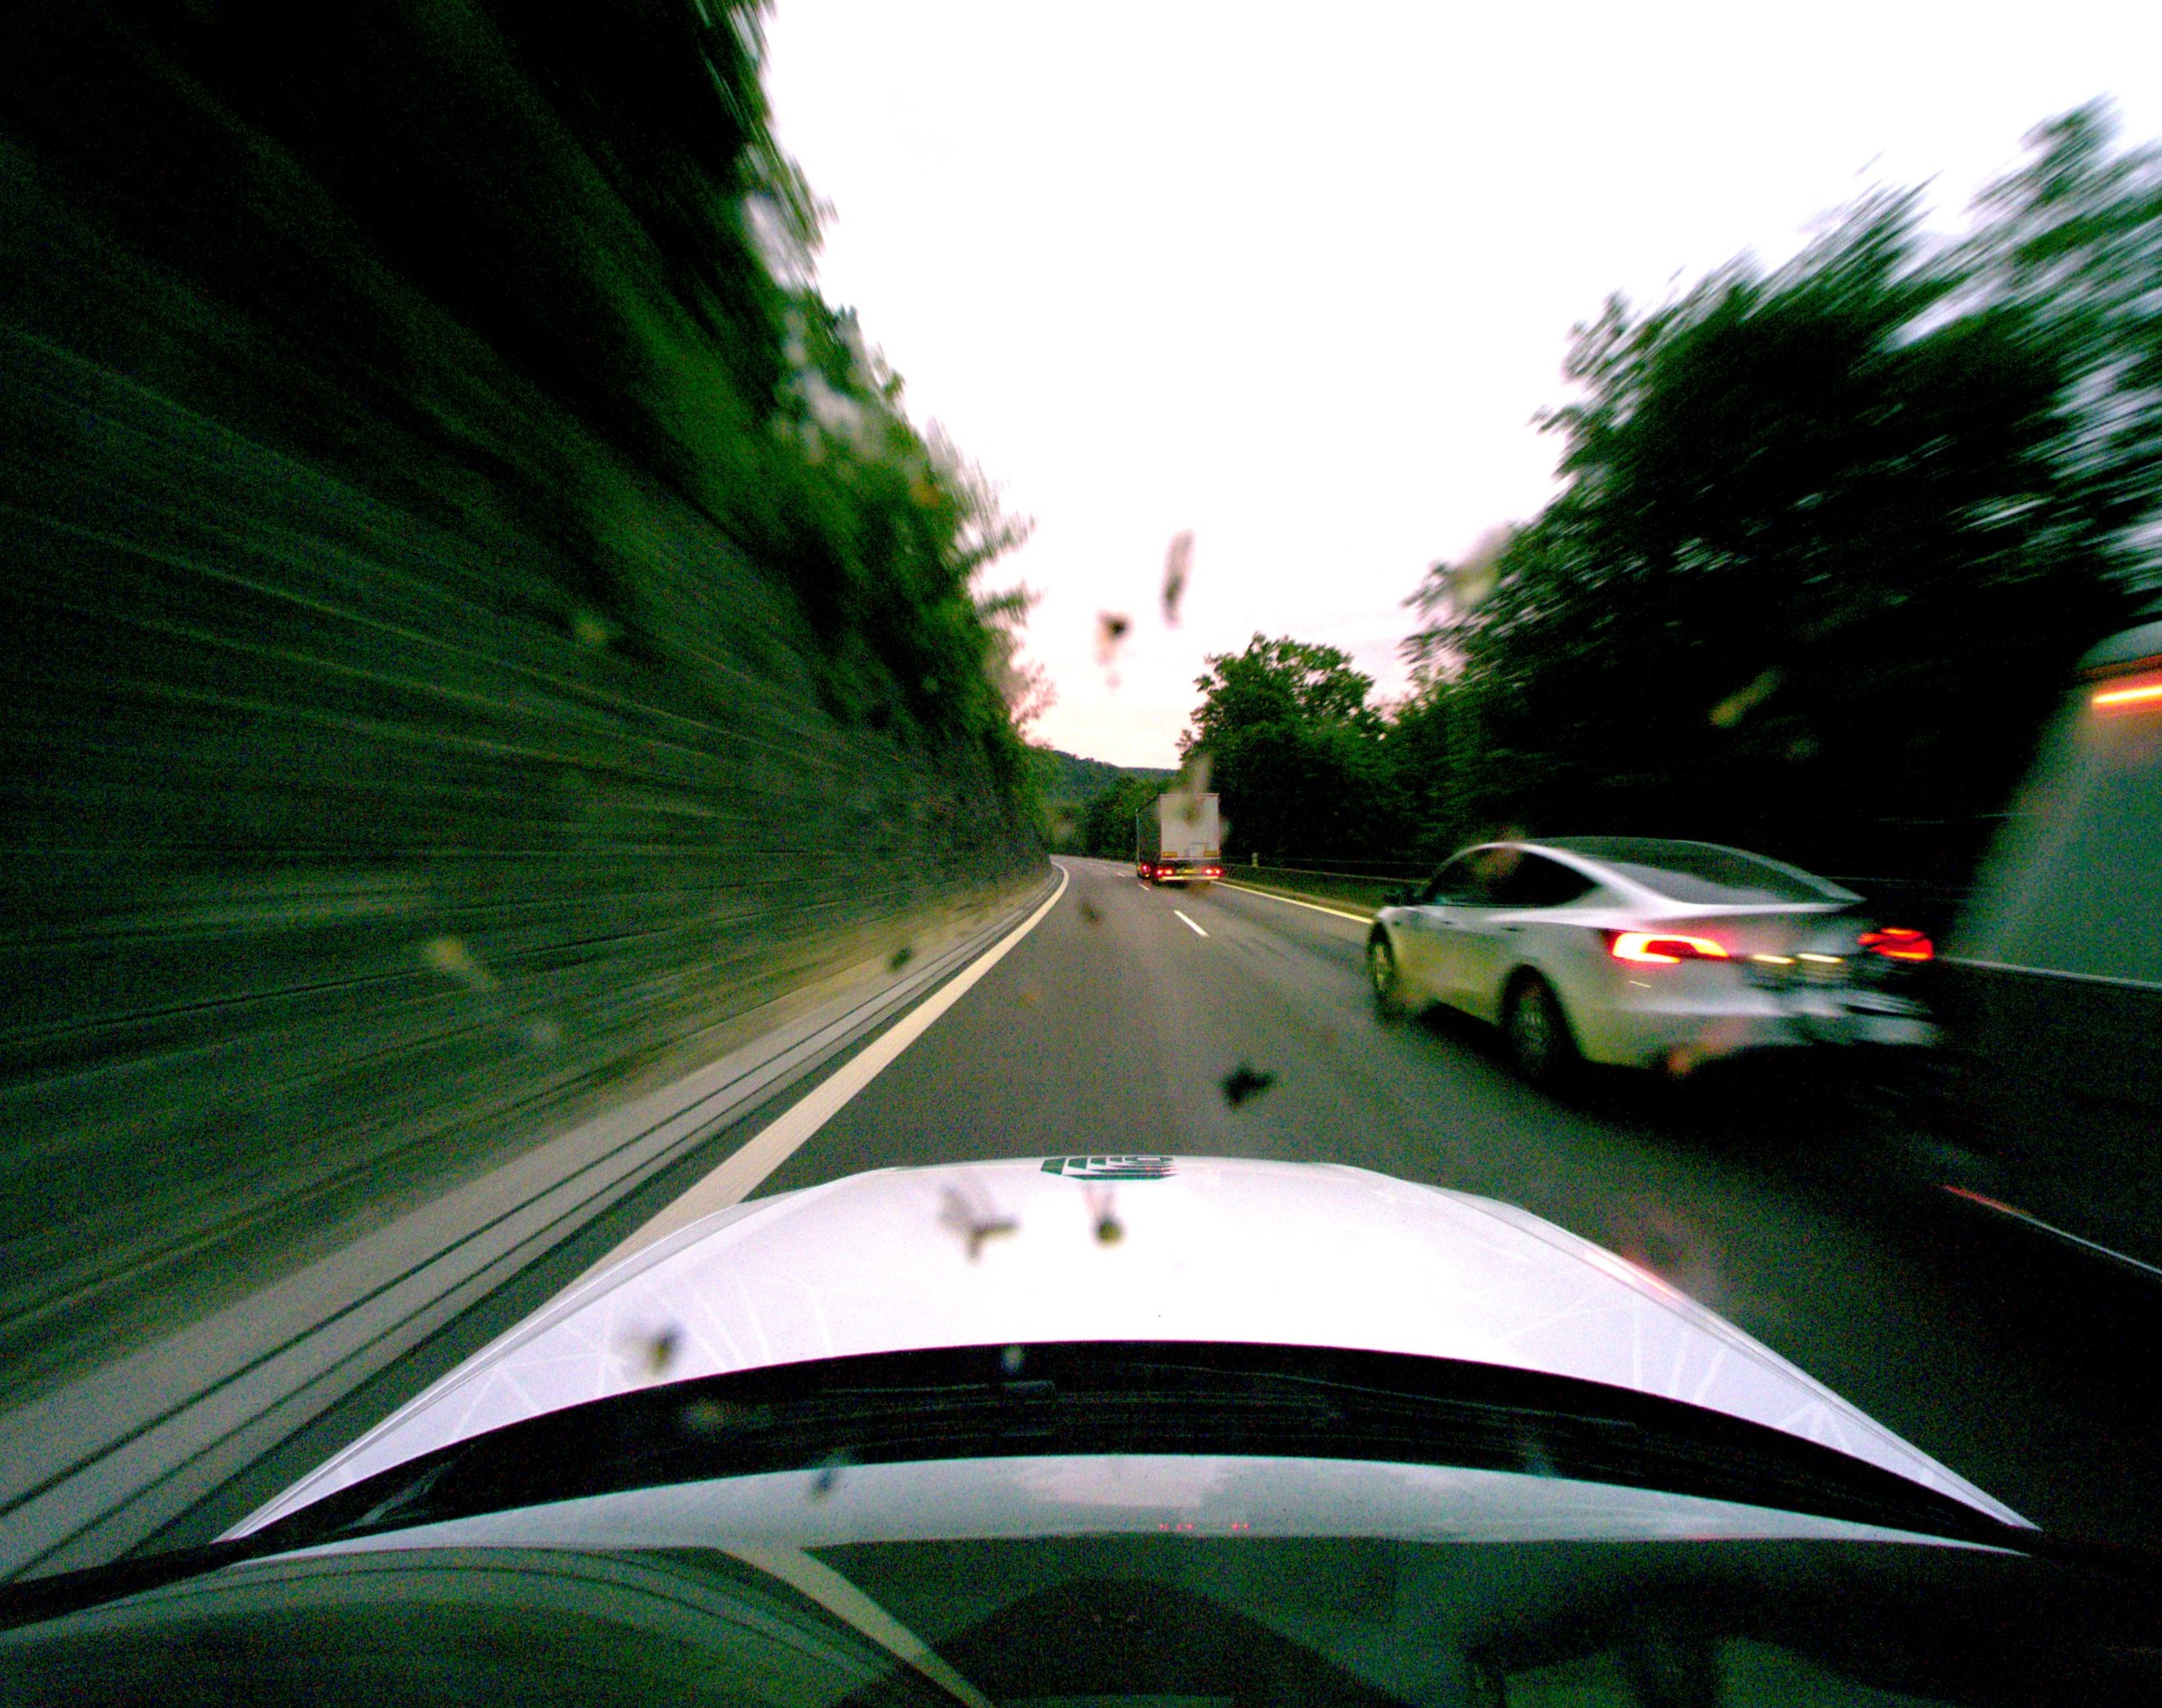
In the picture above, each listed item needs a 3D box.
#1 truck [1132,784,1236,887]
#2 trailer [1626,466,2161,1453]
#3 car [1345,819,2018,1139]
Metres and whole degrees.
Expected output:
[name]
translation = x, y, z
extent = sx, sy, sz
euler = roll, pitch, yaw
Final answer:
[truck]
translation = 4.712, -0.744, 41.478
extent = 3.284, 4.173, 16.501
euler = 0, 0, 0
[trailer]
translation = 3.581, 0.264, 1.023
extent = 2.046, 2.375, 5.942
euler = 1, 0, 3
[car]
translation = 3.825, 0.634, 6.566
extent = 1.986, 1.614, 4.867
euler = 0, 0, 2
